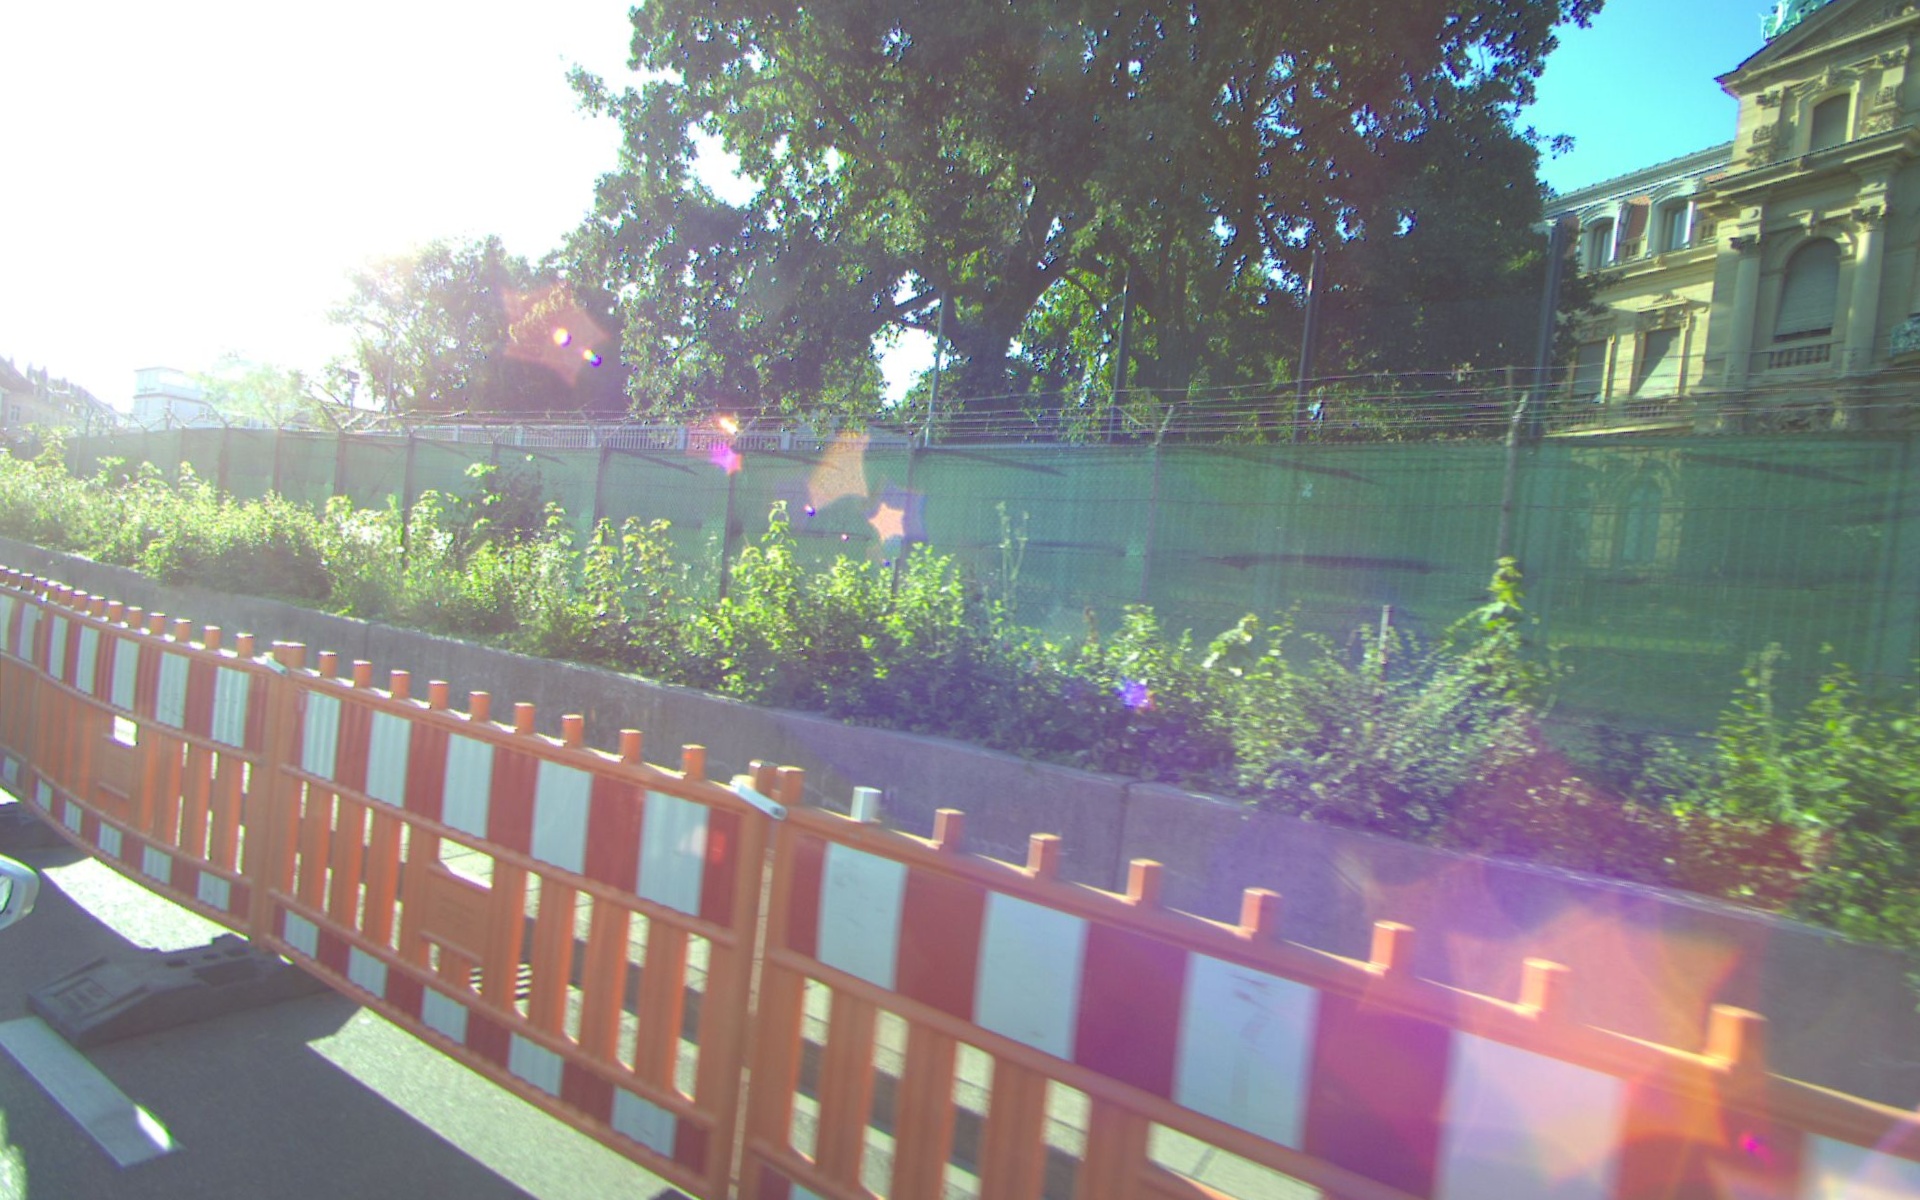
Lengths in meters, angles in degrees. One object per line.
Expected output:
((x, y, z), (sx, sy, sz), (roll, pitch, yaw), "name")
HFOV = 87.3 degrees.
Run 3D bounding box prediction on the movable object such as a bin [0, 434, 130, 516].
((-50.324, -6.918, 55.803), (6.021, 3.602, 2.836), (7, 0, -34), "movable object such as a bin")
